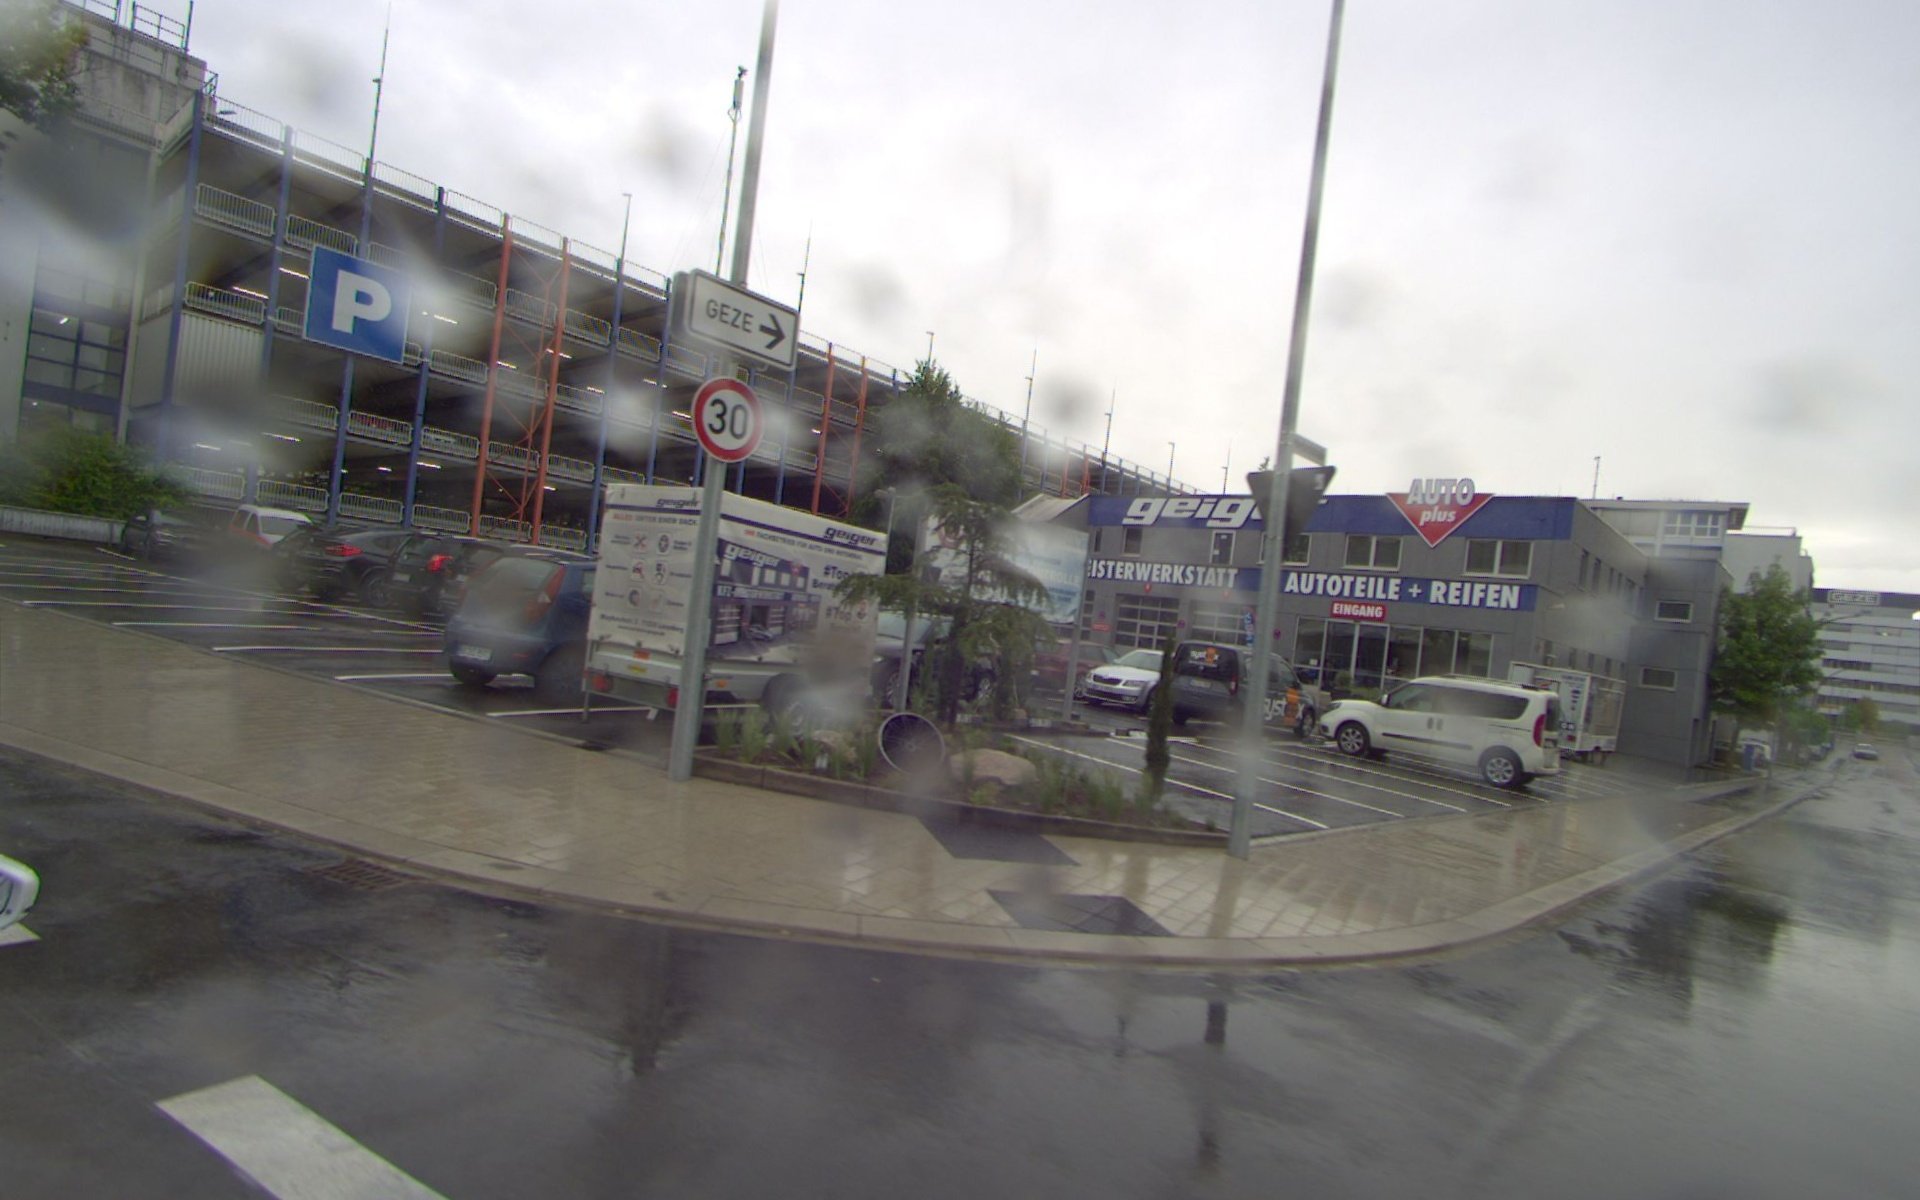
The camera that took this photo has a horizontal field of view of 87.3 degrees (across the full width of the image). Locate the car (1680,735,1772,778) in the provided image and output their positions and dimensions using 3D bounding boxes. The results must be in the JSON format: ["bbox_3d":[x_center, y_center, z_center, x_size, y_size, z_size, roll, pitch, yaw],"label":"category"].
[{"bbox_3d":[43.261,8.849,56.927,3.940,1.809,1.997,4,-6,37],"label":"car"}]

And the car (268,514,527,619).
[{"bbox_3d":[-11.652,-0.626,21.184,1.808,1.577,4.365,7,-1,28],"label":"car"}]

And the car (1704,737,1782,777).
[{"bbox_3d":[52.043,10.448,66.958,3.940,2.034,1.997,4,-6,37],"label":"car"}]

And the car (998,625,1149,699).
[{"bbox_3d":[2.983,1.627,25.726,1.837,1.515,4.125,7,0,38],"label":"car"}]

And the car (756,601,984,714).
[{"bbox_3d":[-1.222,0.914,15.371,1.663,1.331,3.736,7,-1,26],"label":"car"}]

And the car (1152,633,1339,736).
[{"bbox_3d":[6.346,1.884,22.050,1.869,1.851,4.464,7,0,45],"label":"car"}]

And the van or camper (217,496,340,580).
[{"bbox_3d":[-20.511,-1.891,30.205,4.399,2.060,1.836,7,-1,41],"label":"van or camper"}]

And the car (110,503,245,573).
[{"bbox_3d":[-21.820,-1.741,28.008,4.144,1.459,1.933,7,-1,38],"label":"car"}]

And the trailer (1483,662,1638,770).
[{"bbox_3d":[19.972,3.886,33.319,5.864,2.762,2.900,13,-7,-44],"label":"trailer"}]

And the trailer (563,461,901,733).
[{"bbox_3d":[-2.088,0.050,9.774,1.522,2.197,2.707,7,-1,31],"label":"trailer"}]

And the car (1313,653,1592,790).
[{"bbox_3d":[9.500,2.257,19.589,4.424,1.851,1.886,7,0,39],"label":"car"}]

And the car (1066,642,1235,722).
[{"bbox_3d":[4.566,1.971,23.730,1.840,1.515,4.118,7,0,44],"label":"car"}]

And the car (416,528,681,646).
[{"bbox_3d":[-7.553,-0.156,18.952,1.812,1.671,4.366,7,-1,27],"label":"car"}]

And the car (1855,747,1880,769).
[{"bbox_3d":[102.771,17.876,113.910,1.974,2.033,3.987,4,-7,43],"label":"car"}]

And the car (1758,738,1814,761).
[{"bbox_3d":[79.176,14.354,96.501,3.941,1.501,1.997,4,-6,38],"label":"car"}]

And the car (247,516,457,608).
[{"bbox_3d":[-13.790,-0.809,23.022,1.614,1.518,3.695,7,-2,30],"label":"car"}]

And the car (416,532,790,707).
[{"bbox_3d":[-3.800,0.283,11.357,1.622,1.547,3.732,6,-1,29],"label":"car"}]

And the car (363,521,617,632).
[{"bbox_3d":[-9.419,-0.395,20.553,1.756,1.678,4.363,7,-1,30],"label":"car"}]
